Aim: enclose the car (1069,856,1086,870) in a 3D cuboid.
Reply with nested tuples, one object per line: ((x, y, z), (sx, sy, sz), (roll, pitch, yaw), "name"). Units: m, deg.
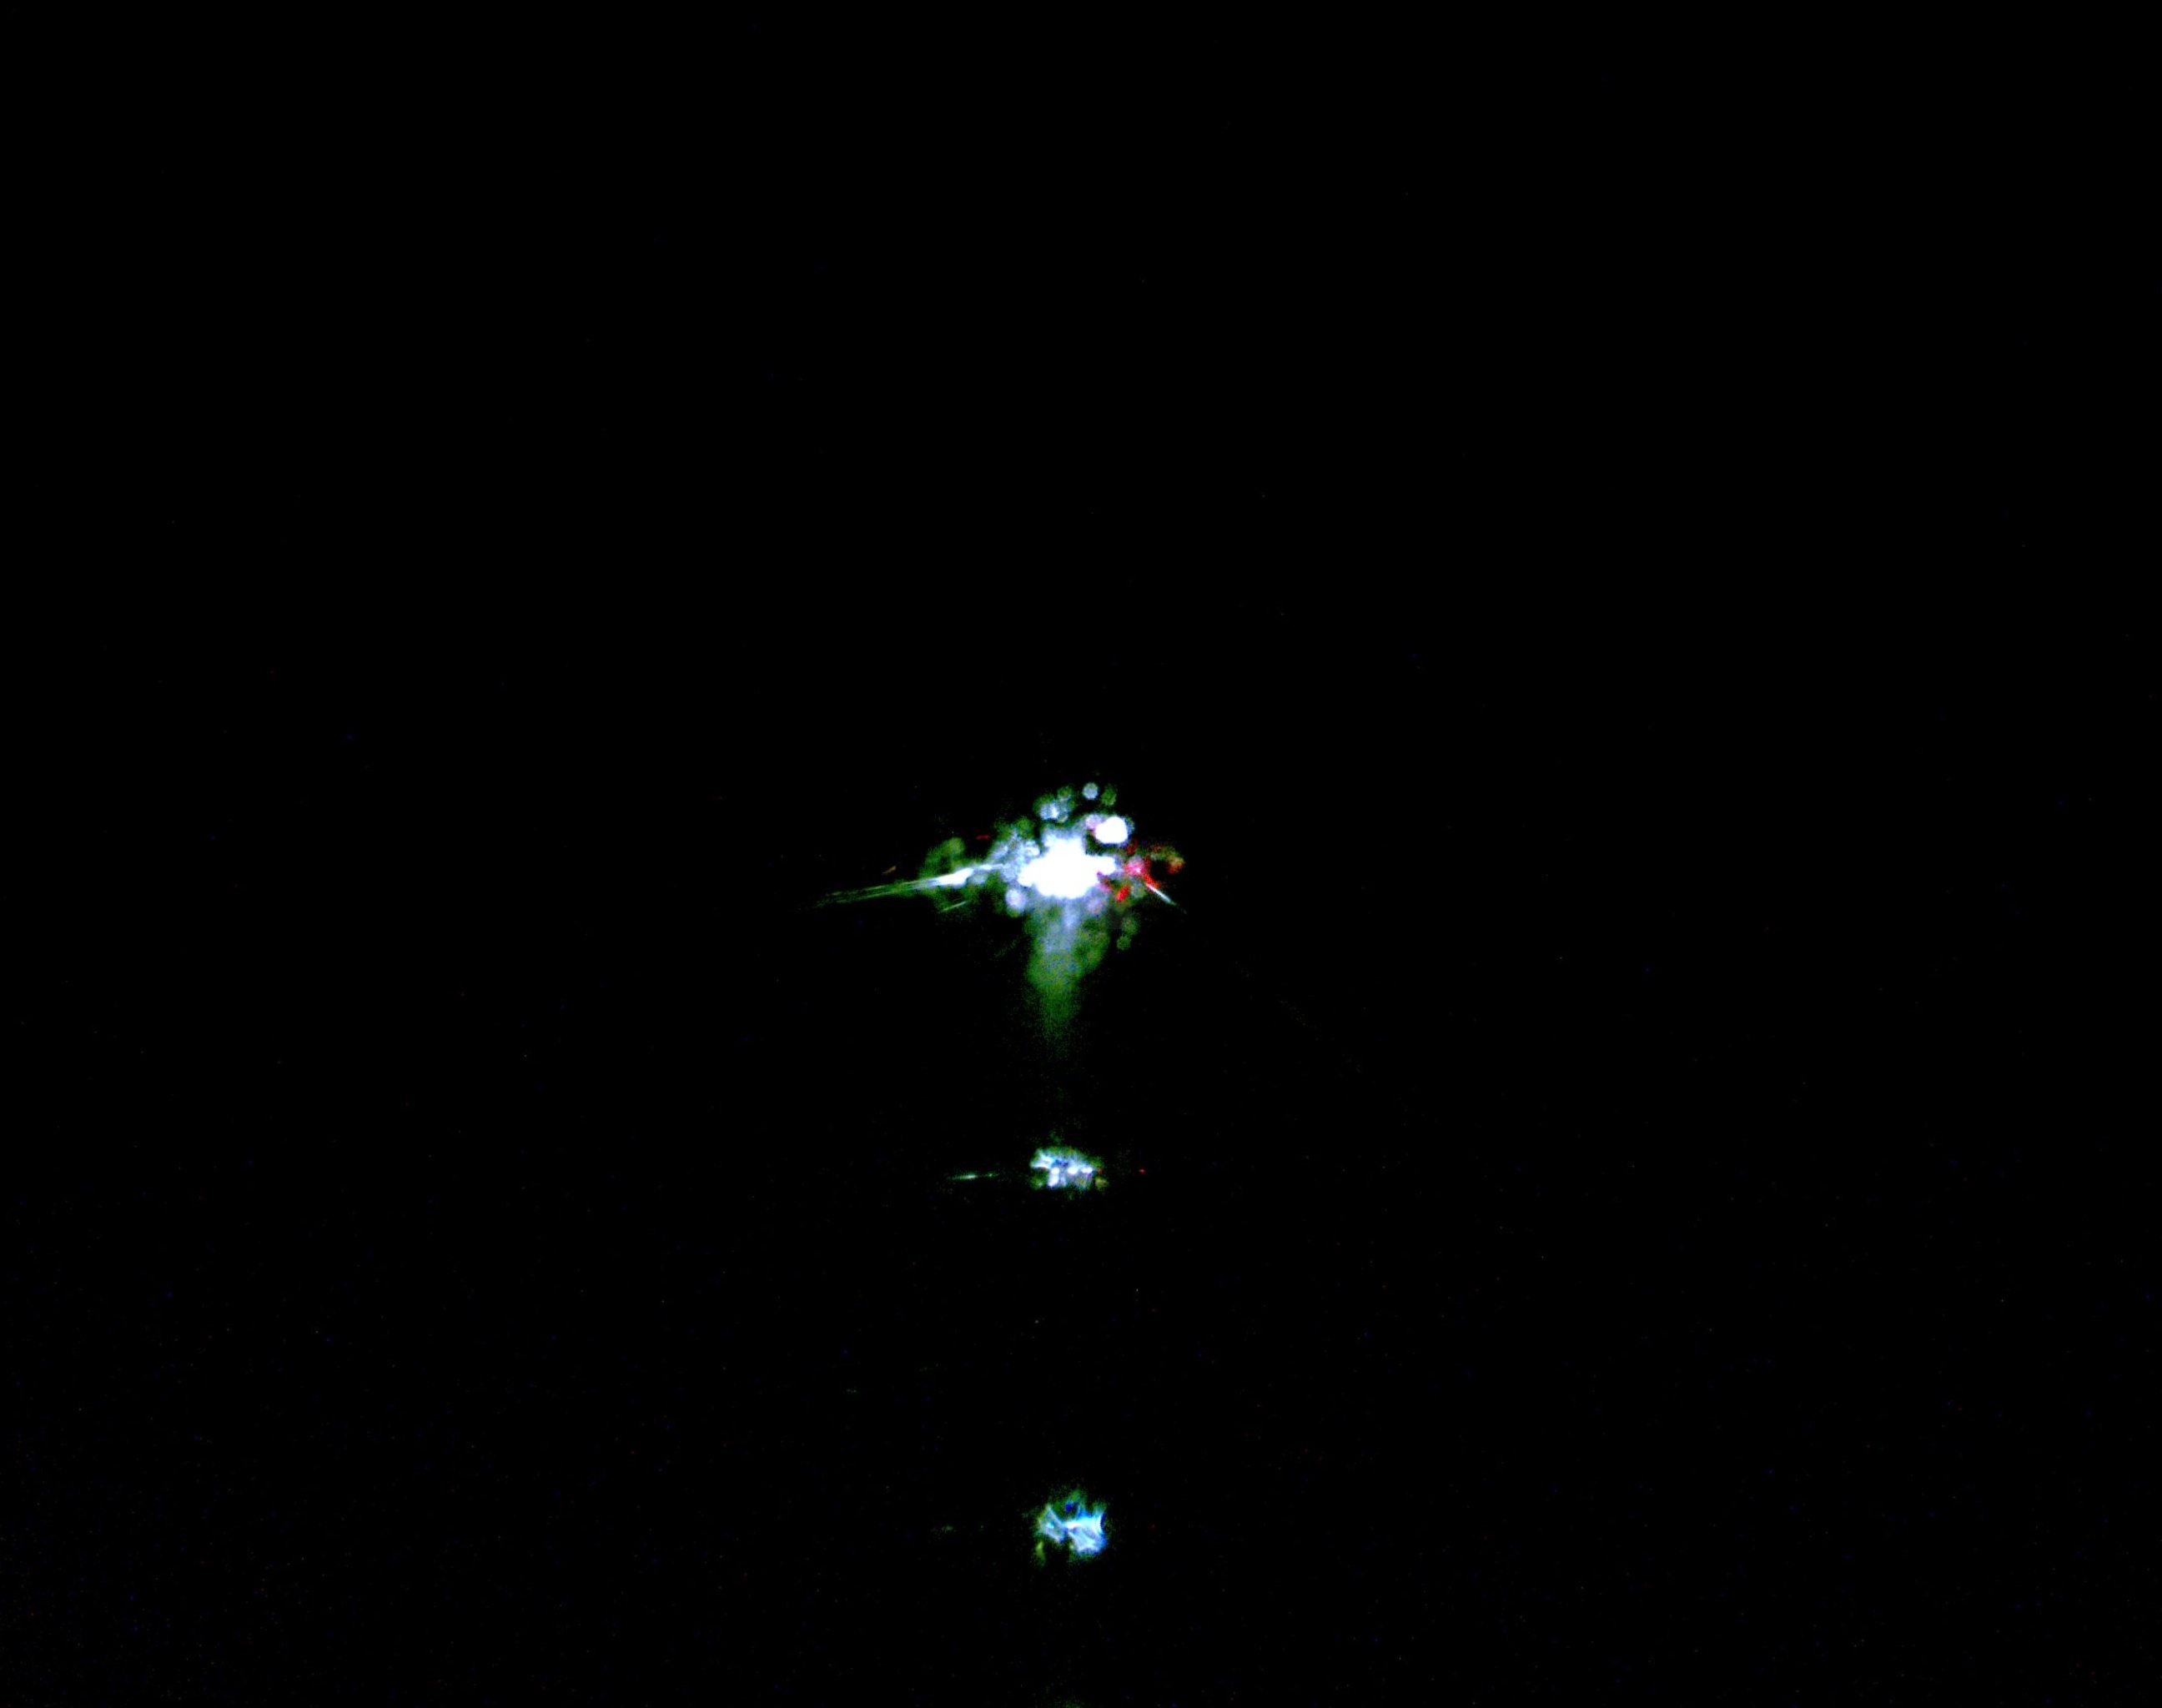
((-0.356, 0.976, 89.550), (1.779, 1.510, 3.601), (0, 0, 1), "car")

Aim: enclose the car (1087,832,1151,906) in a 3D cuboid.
((1.382, 0.470, 30.558), (2.173, 2.557, 4.510), (1, 2, 2), "car")

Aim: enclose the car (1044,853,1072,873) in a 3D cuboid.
((-1.796, 0.718, 65.489), (1.967, 1.516, 4.348), (-1, 0, 1), "car")
